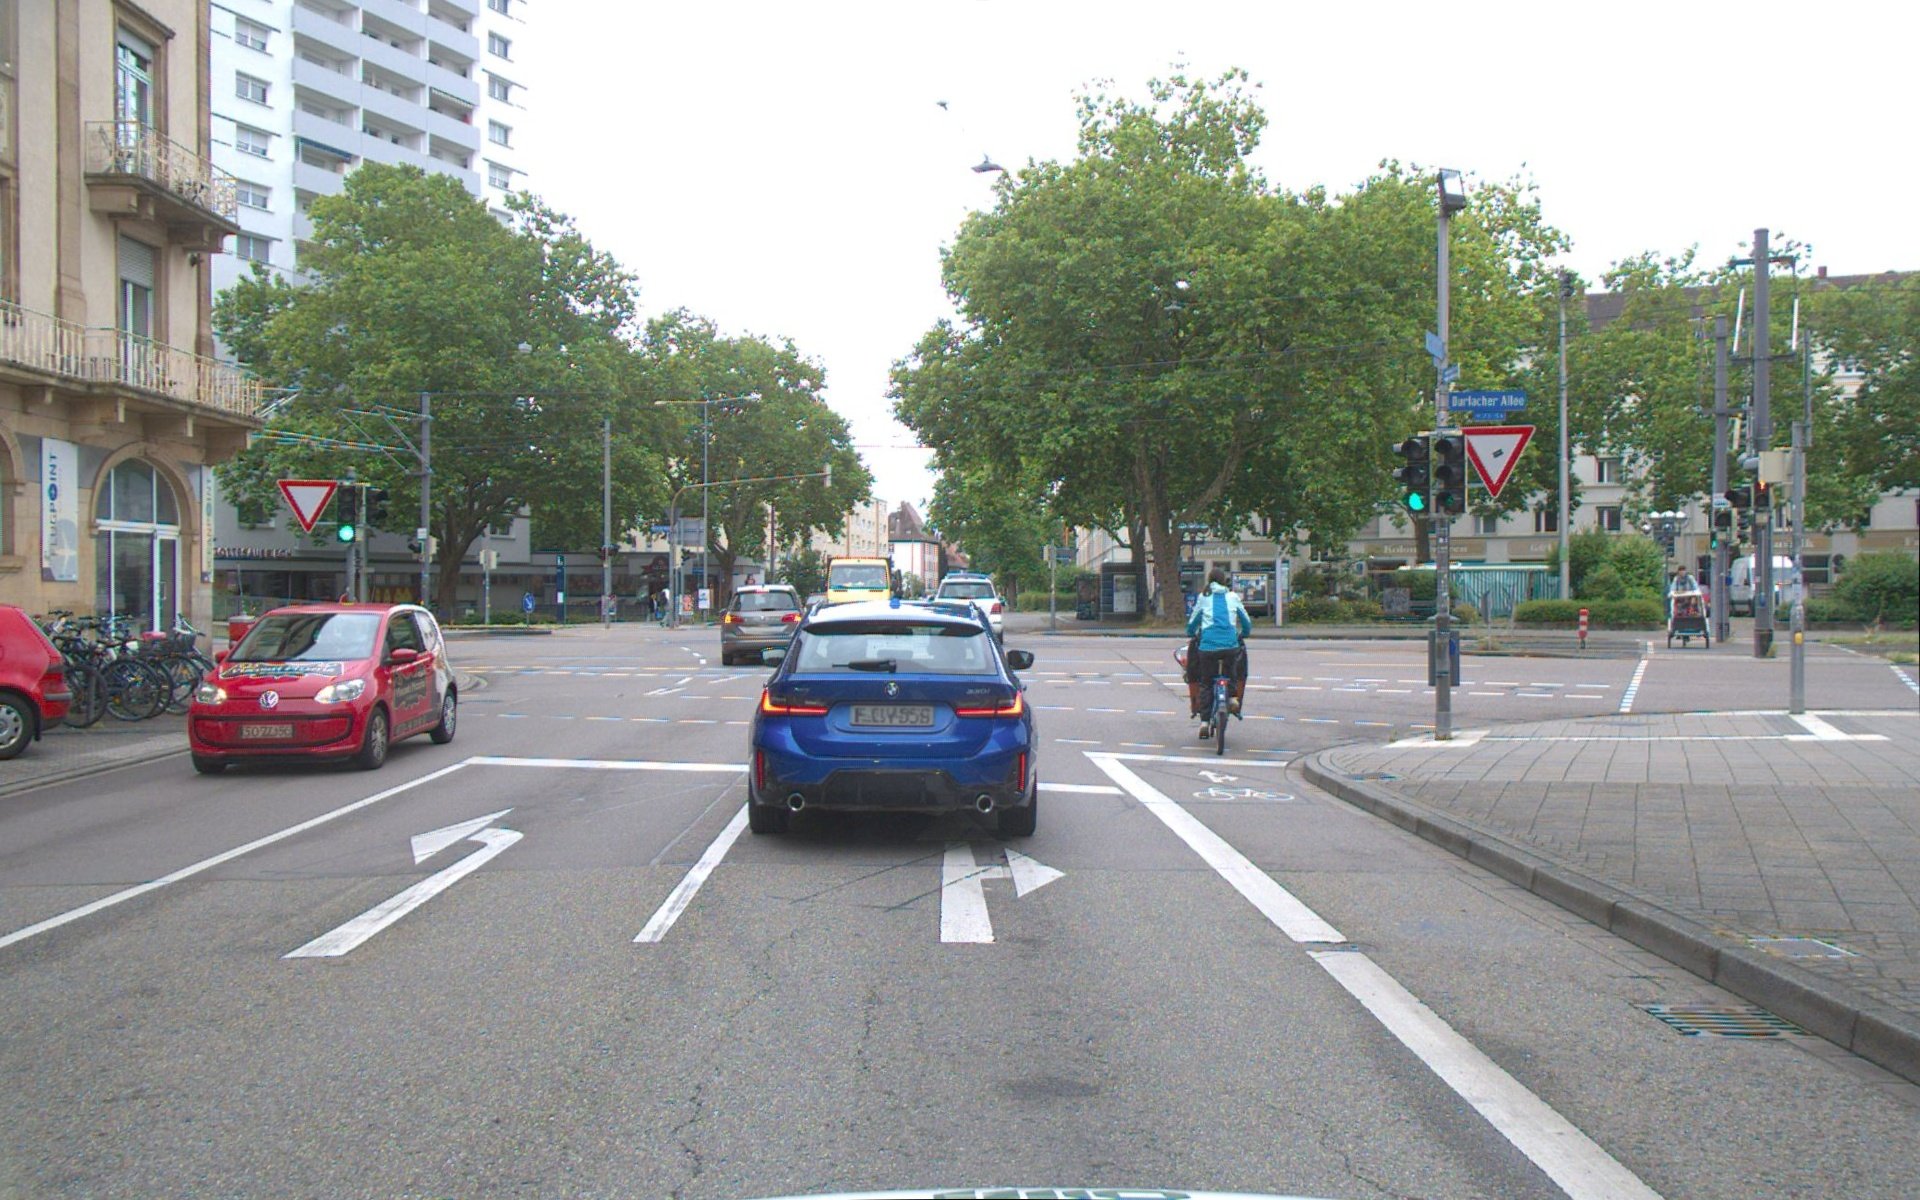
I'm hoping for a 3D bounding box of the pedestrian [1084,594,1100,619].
[{"bbox_3d":[7.433,0.347,93.040,0.801,1.396,0.762,0,0,-1],"label":"pedestrian"}]

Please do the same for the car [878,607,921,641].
[{"bbox_3d":[-2.767,1.090,76.325,1.771,1.452,4.317,0,0,0],"label":"car"}]

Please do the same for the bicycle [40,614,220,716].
[{"bbox_3d":[-10.044,0.786,20.047,1.849,1.053,0.442,5,0,-3],"label":"bicycle"}]

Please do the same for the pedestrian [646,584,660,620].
[{"bbox_3d":[-15.715,0.098,84.689,0.562,1.816,0.620,0,0,8],"label":"pedestrian"}]

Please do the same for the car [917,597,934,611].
[{"bbox_3d":[-3.837,0.429,184.071,1.815,1.478,4.167,0,0,-1],"label":"car"}]

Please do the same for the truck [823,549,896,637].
[{"bbox_3d":[-3.009,-0.224,49.873,2.033,2.450,5.459,-1,1,-3],"label":"truck"}]

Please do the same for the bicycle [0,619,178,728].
[{"bbox_3d":[-9.997,0.830,18.850,1.849,1.053,0.442,5,0,-3],"label":"bicycle"}]

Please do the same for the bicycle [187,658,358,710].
[{"bbox_3d":[-9.232,1.127,22.281,1.849,0.453,1.028,5,2,-3],"label":"bicycle"}]

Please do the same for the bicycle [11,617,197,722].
[{"bbox_3d":[-10.018,0.810,19.386,1.849,1.053,0.442,5,0,-3],"label":"bicycle"}]

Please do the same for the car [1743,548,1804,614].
[{"bbox_3d":[34.658,-0.803,70.581,2.191,2.685,5.443,0,0,25],"label":"car"}]

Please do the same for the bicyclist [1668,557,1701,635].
[{"bbox_3d":[15.834,-0.089,36.171,0.601,1.683,0.754,0,0,21],"label":"bicyclist"}]

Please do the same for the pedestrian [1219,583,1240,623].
[{"bbox_3d":[12.198,0.129,74.859,0.768,1.774,0.925,0,0,-2],"label":"pedestrian"}]

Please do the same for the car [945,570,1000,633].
[{"bbox_3d":[0.381,0.044,56.030,1.778,2.040,3.999,-1,0,-1],"label":"car"}]

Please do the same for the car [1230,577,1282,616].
[{"bbox_3d":[17.327,-0.222,96.577,2.130,2.239,3.999,0,0,23],"label":"car"}]

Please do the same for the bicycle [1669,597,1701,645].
[{"bbox_3d":[15.820,0.443,36.109,0.540,1.013,2.061,0,0,21],"label":"bicycle"}]

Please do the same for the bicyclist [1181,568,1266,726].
[{"bbox_3d":[2.673,0.459,16.835,0.672,1.544,1.058,-1,0,-1],"label":"bicyclist"}]

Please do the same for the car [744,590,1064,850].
[{"bbox_3d":[-0.336,0.657,11.420,1.778,1.430,4.319,-1,0,-1],"label":"car"}]

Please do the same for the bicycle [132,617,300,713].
[{"bbox_3d":[-9.542,0.832,21.237,1.849,1.053,0.442,5,0,-3],"label":"bicycle"}]

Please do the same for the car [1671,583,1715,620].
[{"bbox_3d":[31.329,0.056,70.636,1.631,1.542,3.935,0,0,25],"label":"car"}]

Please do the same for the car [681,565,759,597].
[{"bbox_3d":[-13.698,-1.069,94.398,3.953,1.736,1.976,0,0,-35],"label":"car"}]

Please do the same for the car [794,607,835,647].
[{"bbox_3d":[-7.927,1.455,90.446,1.881,2.049,3.936,-1,0,-1],"label":"car"}]

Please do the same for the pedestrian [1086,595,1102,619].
[{"bbox_3d":[7.461,0.384,92.056,0.835,1.337,0.762,0,0,-1],"label":"pedestrian"}]

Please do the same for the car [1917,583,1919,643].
[{"bbox_3d":[27.104,0.340,42.726,3.895,1.589,1.687,-1,0,22],"label":"car"}]

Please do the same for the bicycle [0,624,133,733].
[{"bbox_3d":[-10.075,0.833,18.033,1.847,1.053,0.442,4,0,2],"label":"bicycle"}]

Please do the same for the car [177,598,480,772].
[{"bbox_3d":[-5.962,0.731,16.044,1.615,1.472,3.510,-1,0,-1],"label":"car"}]

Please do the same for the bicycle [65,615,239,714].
[{"bbox_3d":[-10.088,0.801,20.682,1.849,1.053,0.442,5,0,-3],"label":"bicycle"}]

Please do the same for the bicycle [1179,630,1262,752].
[{"bbox_3d":[2.664,0.899,17.097,0.484,1.117,2.138,-1,0,-1],"label":"bicycle"}]

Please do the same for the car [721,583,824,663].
[{"bbox_3d":[-3.834,0.437,34.352,1.697,1.551,3.999,-1,0,-1],"label":"car"}]

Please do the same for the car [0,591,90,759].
[{"bbox_3d":[-10.113,0.661,14.607,1.653,1.498,3.978,2,1,40],"label":"car"}]

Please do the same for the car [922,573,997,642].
[{"bbox_3d":[-0.031,0.166,41.508,1.778,1.620,3.999,-1,0,-1],"label":"car"}]
